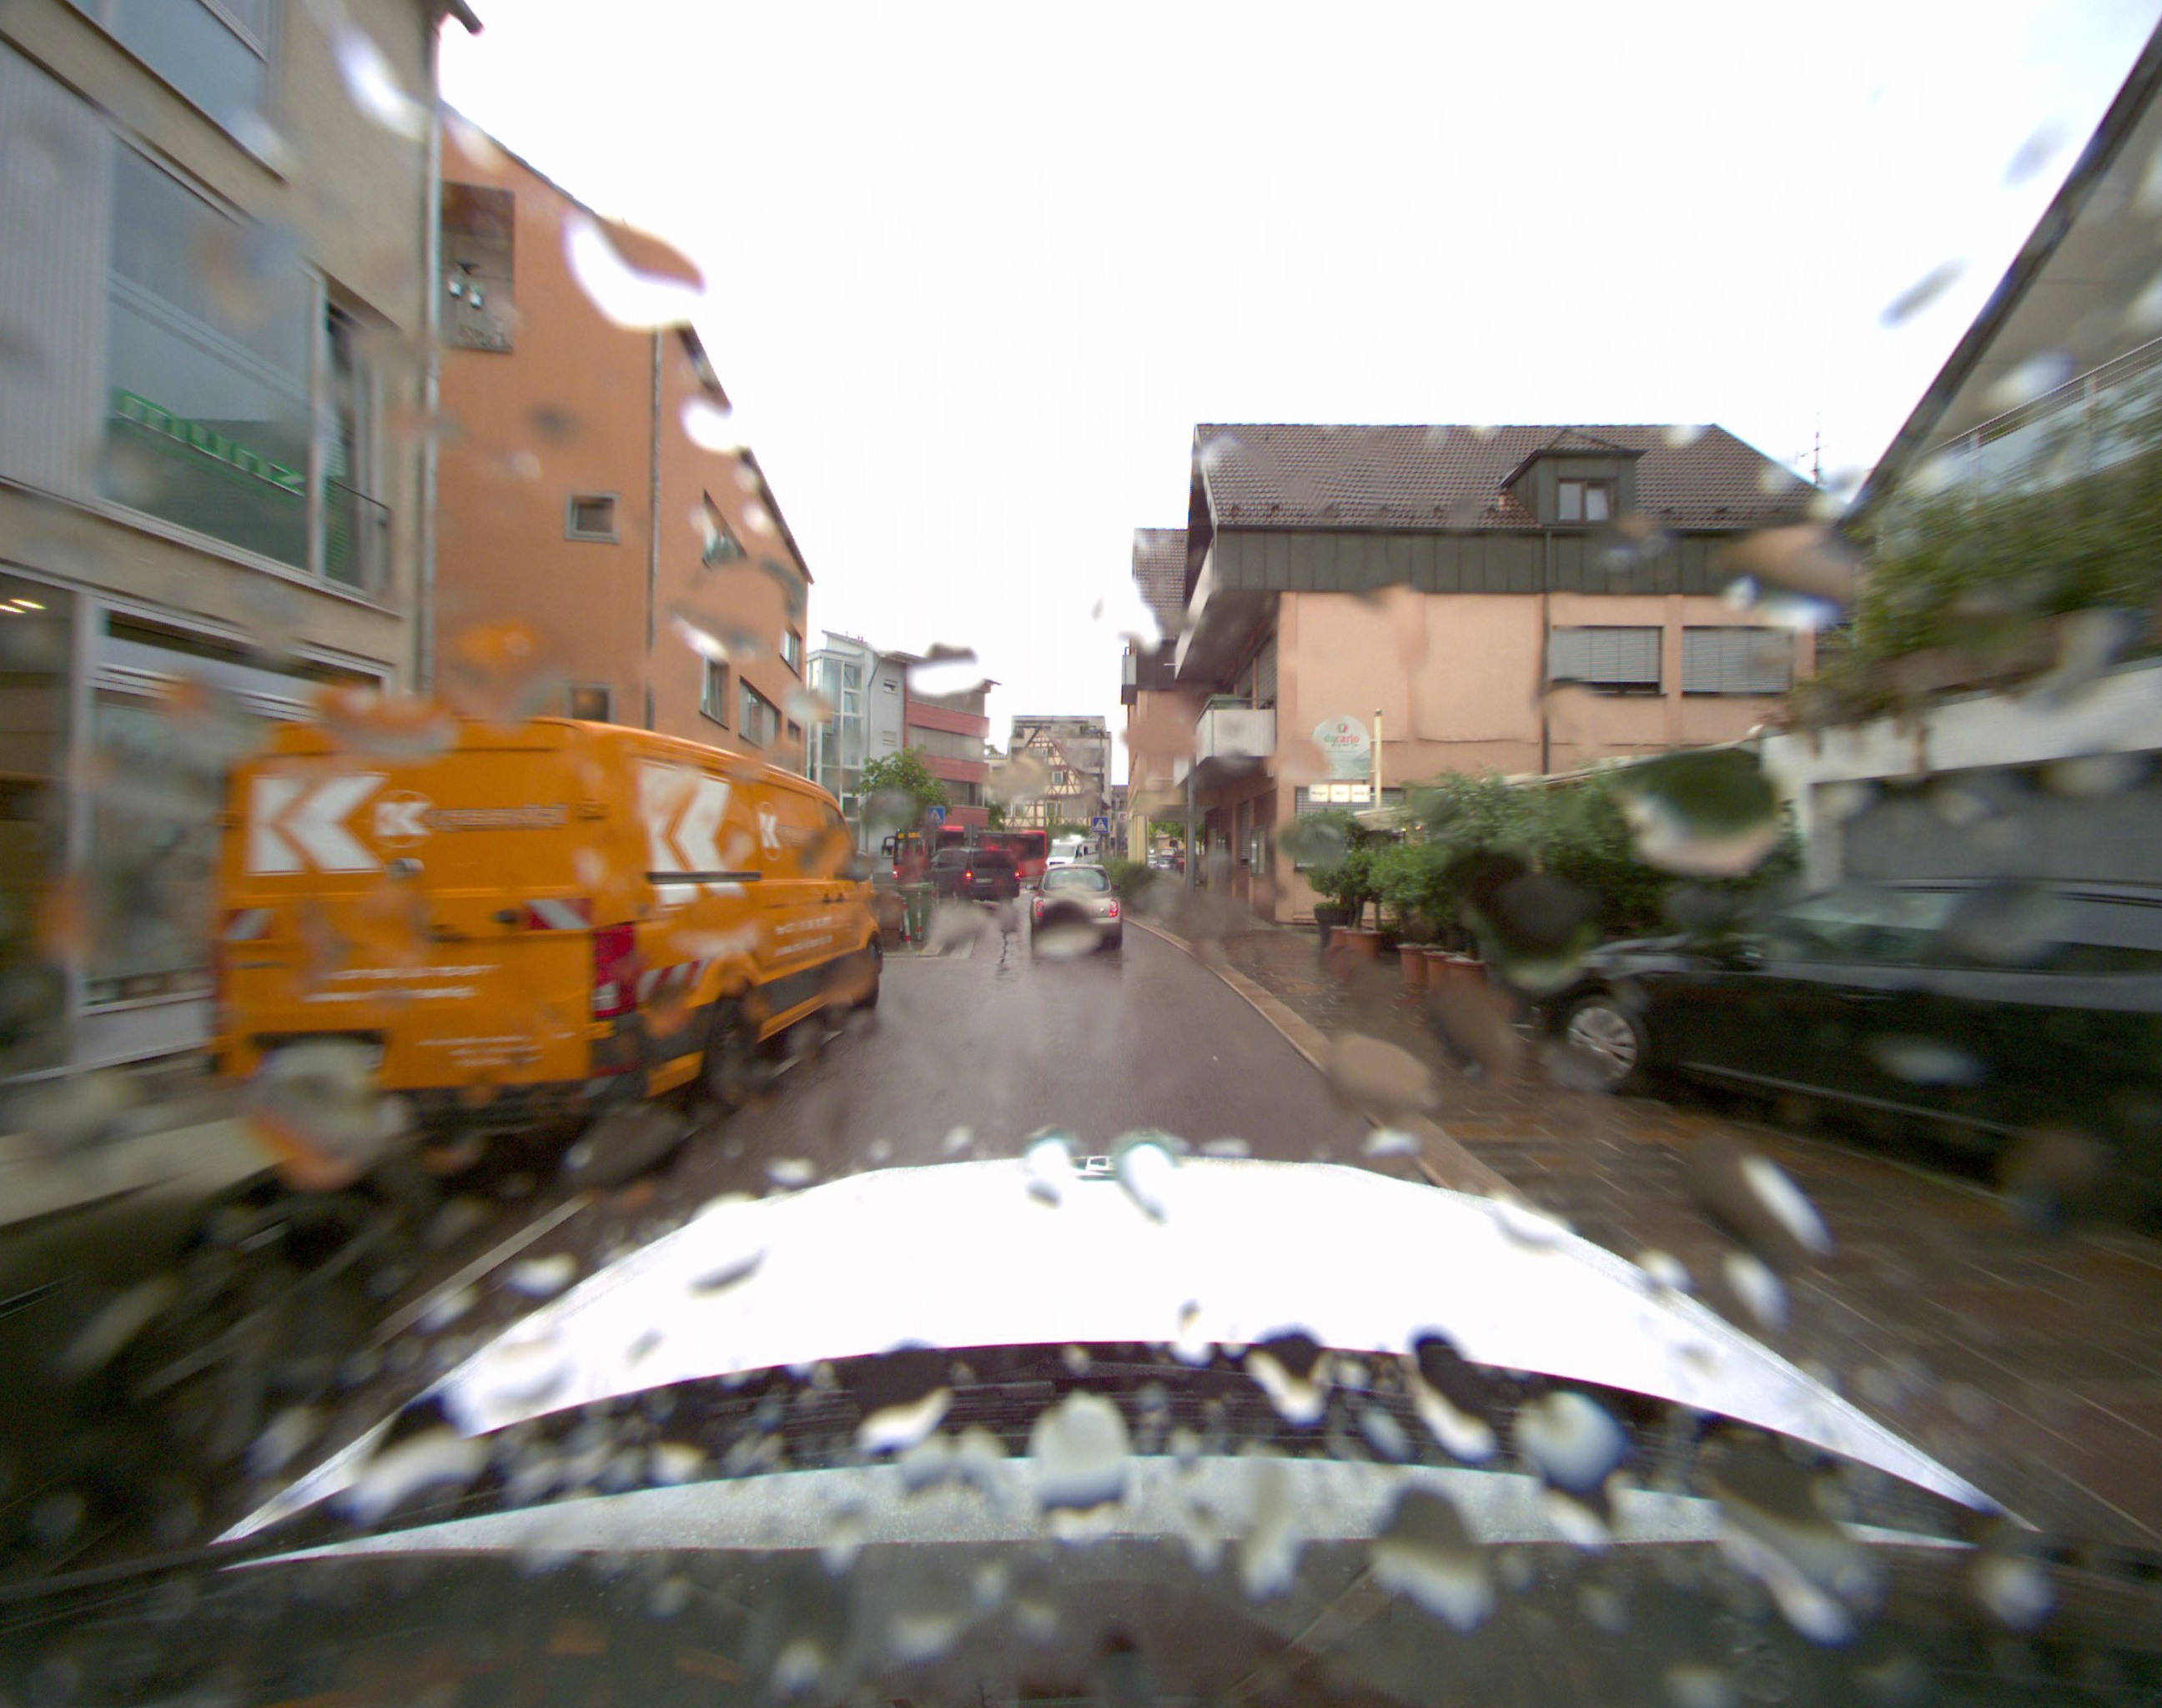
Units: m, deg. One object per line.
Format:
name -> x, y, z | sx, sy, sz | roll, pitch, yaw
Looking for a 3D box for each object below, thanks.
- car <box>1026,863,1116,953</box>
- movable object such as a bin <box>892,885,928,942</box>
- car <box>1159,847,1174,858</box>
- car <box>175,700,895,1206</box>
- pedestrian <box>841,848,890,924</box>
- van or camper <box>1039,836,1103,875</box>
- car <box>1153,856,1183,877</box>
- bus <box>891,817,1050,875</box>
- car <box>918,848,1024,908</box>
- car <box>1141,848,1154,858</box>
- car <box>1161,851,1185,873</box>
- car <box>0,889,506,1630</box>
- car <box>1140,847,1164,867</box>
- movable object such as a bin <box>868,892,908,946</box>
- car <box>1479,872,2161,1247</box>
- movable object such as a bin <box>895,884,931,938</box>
car -> -0.279, 0.939, 15.576 | 1.519, 1.471, 3.336 | 0, 0, -5
movable object such as a bin -> -3.268, 1.124, 15.590 | 0.656, 1.036, 0.608 | 0, -1, -10
car -> 11.507, -0.221, 109.334 | 1.888, 1.508, 3.913 | 0, 0, 4
car -> -3.094, 0.444, 6.584 | 1.988, 2.240, 5.857 | 0, 0, -2
pedestrian -> -5.297, 0.764, 20.022 | 0.658, 1.807, 1.066 | 0, -1, 21
van or camper -> -0.622, 0.130, 57.478 | 2.418, 2.585, 6.782 | 0, 0, 18
car -> 5.888, 0.844, 55.144 | 1.525, 1.362, 3.386 | 0, 0, 14
bus -> -6.210, -0.492, 48.360 | 2.786, 3.088, 10.675 | 1, 1, 35
car -> -3.719, 0.731, 26.876 | 1.958, 1.781, 4.683 | 0, 0, -28
car -> 10.122, -0.152, 123.910 | 1.888, 1.508, 3.913 | 0, 0, 4
car -> 6.806, 0.566, 60.174 | 1.615, 1.500, 4.008 | -3, 0, 7
car -> -2.994, 0.803, 0.619 | 1.749, 1.356, 4.485 | 0, 0, 3
car -> 5.719, 0.247, 66.280 | 1.888, 1.574, 4.004 | 0, 0, 4
movable object such as a bin -> -3.443, 1.156, 14.551 | 0.579, 0.927, 0.481 | 1, -1, 0
car -> 4.457, 0.815, 4.491 | 1.740, 1.357, 3.907 | 0, 0, -23
movable object such as a bin -> -3.356, 1.128, 16.297 | 0.656, 1.036, 0.608 | -1, 0, -10
